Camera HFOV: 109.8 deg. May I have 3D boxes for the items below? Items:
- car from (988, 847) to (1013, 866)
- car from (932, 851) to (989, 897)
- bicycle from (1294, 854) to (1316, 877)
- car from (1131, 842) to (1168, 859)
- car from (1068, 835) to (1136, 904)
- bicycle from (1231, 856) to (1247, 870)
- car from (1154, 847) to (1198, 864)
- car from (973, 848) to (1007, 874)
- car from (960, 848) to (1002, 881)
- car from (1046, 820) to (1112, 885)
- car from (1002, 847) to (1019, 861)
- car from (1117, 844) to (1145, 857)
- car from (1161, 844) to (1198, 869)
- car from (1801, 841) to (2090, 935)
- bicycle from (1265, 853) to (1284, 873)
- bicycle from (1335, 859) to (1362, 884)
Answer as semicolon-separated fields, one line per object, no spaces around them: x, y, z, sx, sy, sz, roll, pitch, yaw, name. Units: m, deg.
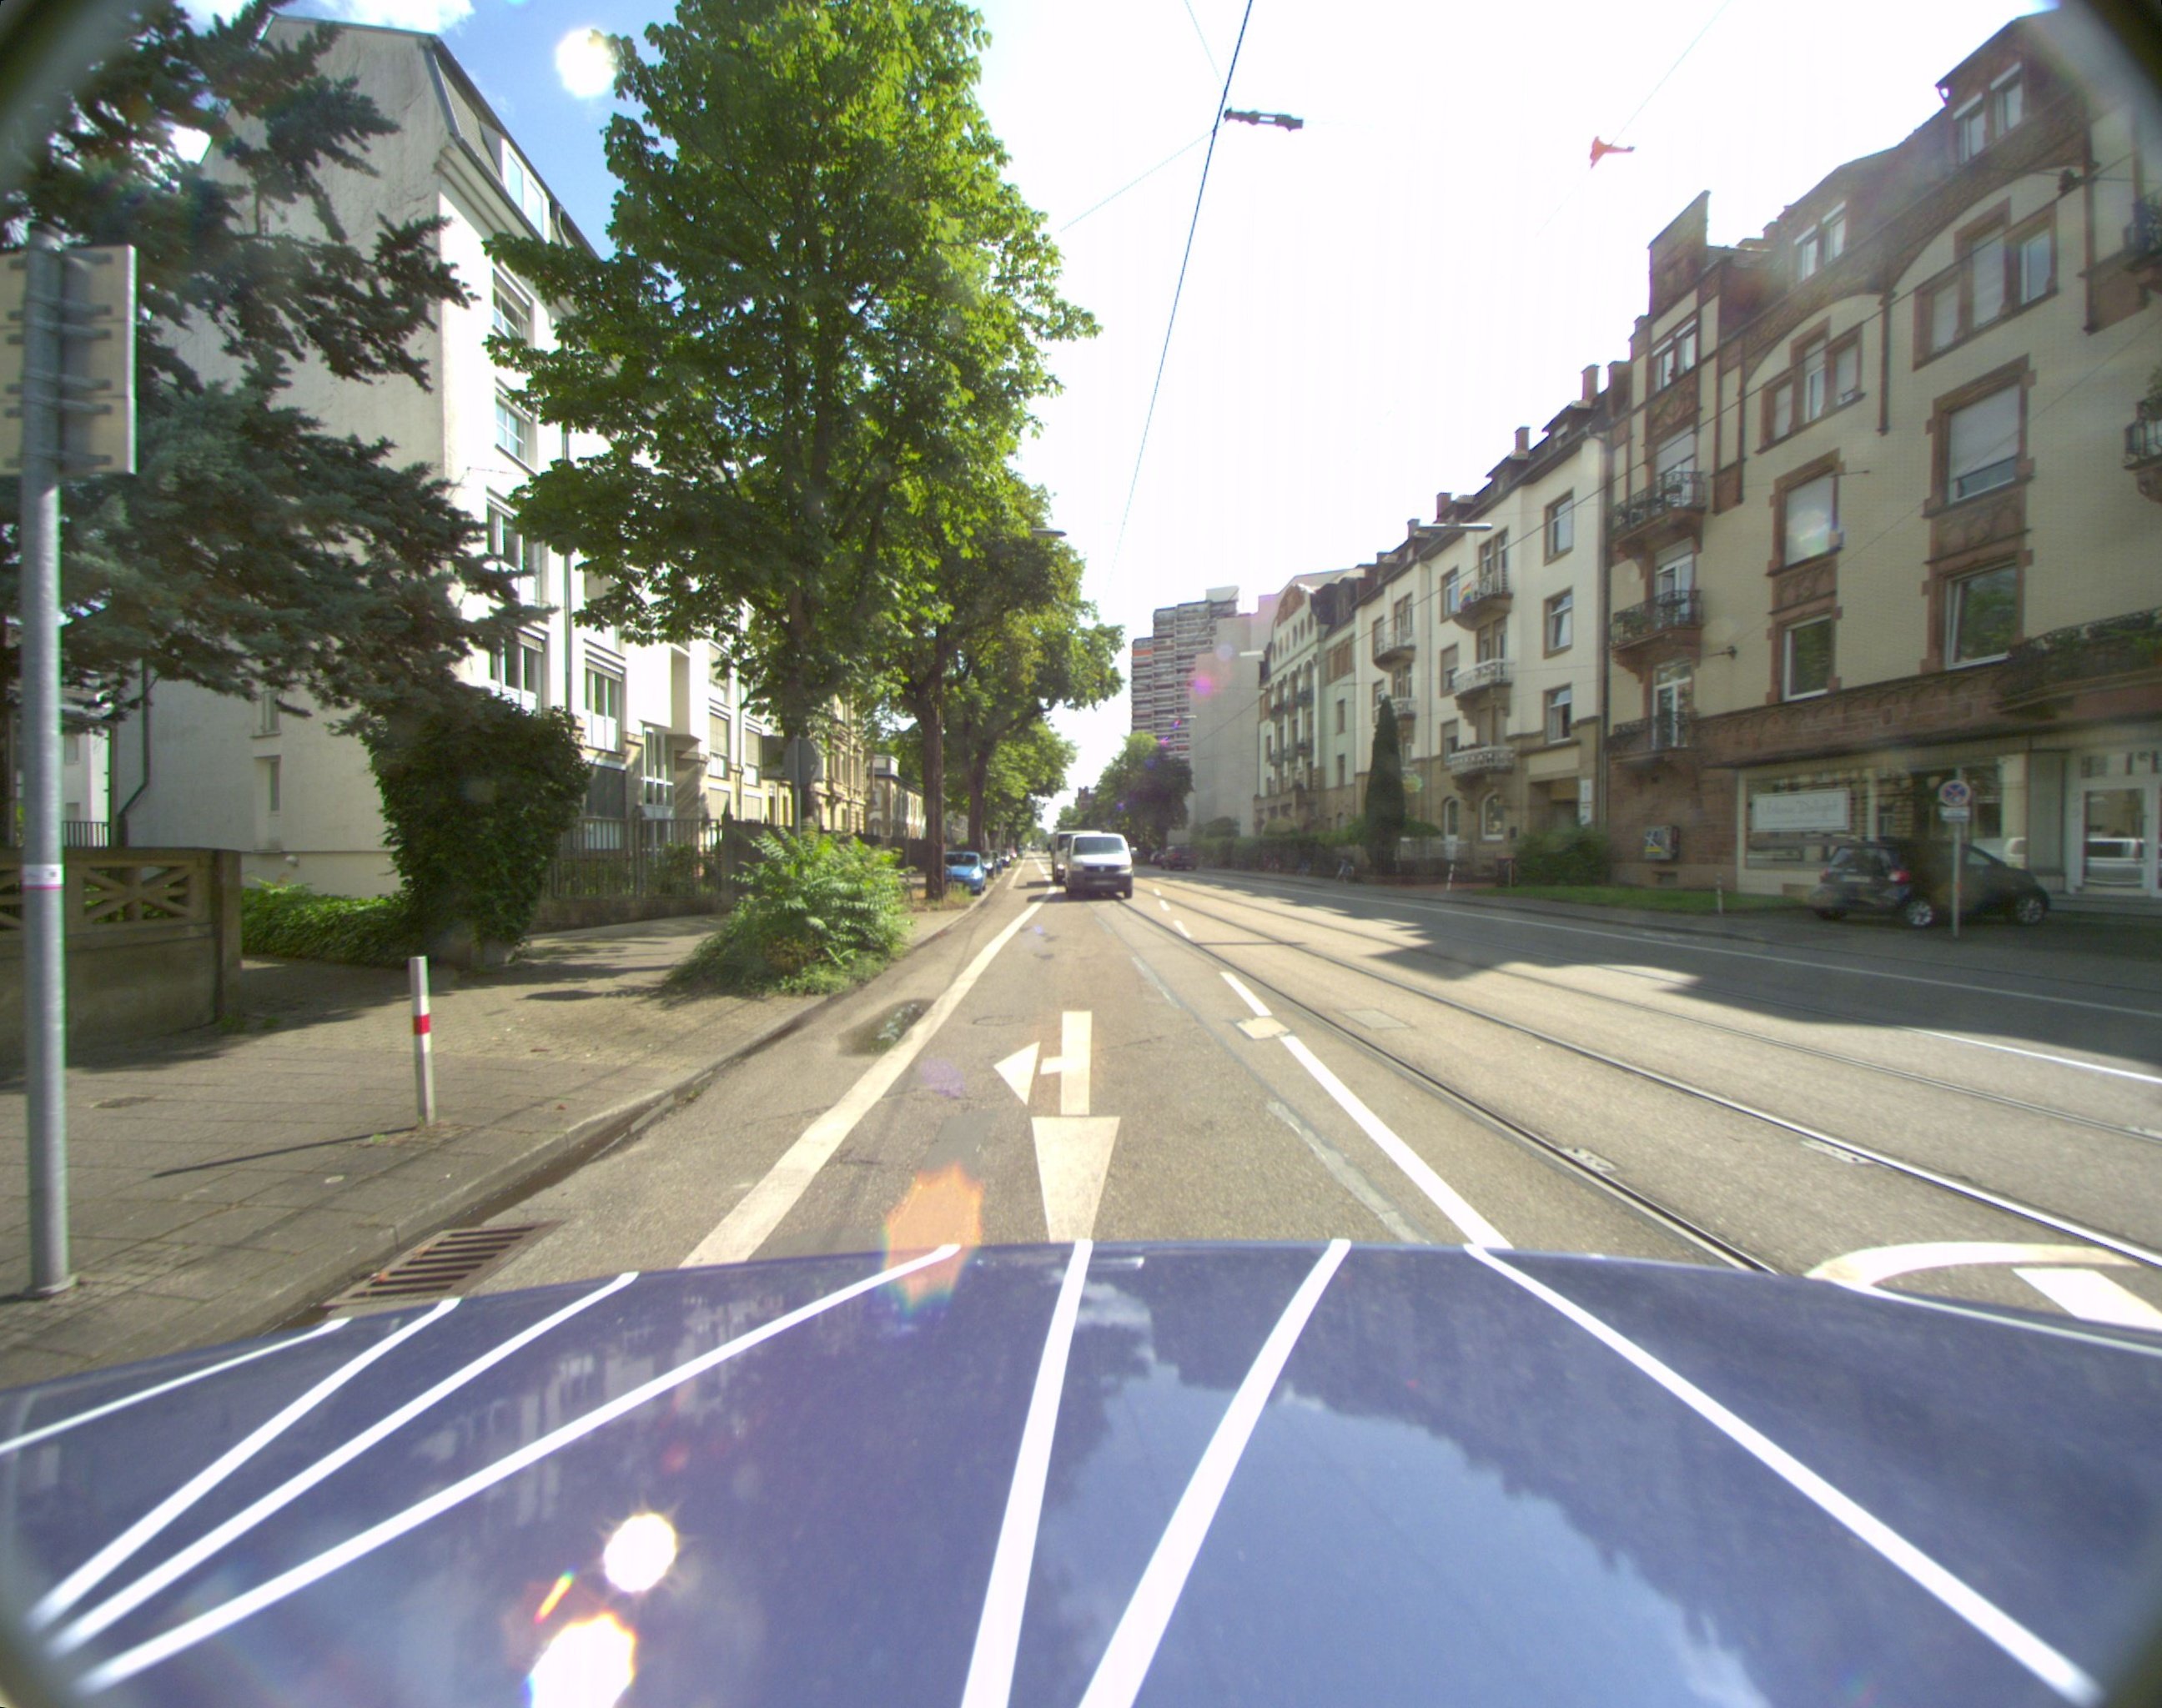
-6.747;0.183;64.112;1.774;1.522;4.198;2;1;-3;car
-4.181;0.643;26.866;1.642;1.447;3.697;1;1;-4;car
10.991;0.563;37.265;0.539;1.024;1.872;0;2;1;bicycle
7.807;-0.355;86.745;3.997;1.915;1.830;0;1;-1;car
0.528;0.396;23.226;1.831;1.856;4.844;-1;1;-1;car
9.974;0.553;47.954;0.587;0.792;1.872;-3;2;1;bicycle
8.776;0.110;70.530;3.890;1.527;1.634;0;1;-2;car
-5.388;0.394;45.255;1.724;1.443;3.924;2;1;-3;car
-4.845;0.469;37.146;1.644;1.499;3.621;2;1;-2;car
-0.203;-0.107;33.344;2.169;2.572;5.659;-1;1;-7;car
-8.048;-0.036;86.938;1.774;1.563;4.198;2;1;-3;car
6.583;-0.487;99.719;3.542;1.733;1.635;0;1;-1;car
6.991;0.124;54.400;1.797;1.701;4.329;0;1;-4;car
15.726;0.568;13.950;3.453;1.478;1.706;-2;1;-2;car
10.624;0.486;41.748;0.587;0.980;1.872;0;2;1;bicycle
11.223;0.715;31.903;0.524;0.901;2.066;0;3;4;bicycle
